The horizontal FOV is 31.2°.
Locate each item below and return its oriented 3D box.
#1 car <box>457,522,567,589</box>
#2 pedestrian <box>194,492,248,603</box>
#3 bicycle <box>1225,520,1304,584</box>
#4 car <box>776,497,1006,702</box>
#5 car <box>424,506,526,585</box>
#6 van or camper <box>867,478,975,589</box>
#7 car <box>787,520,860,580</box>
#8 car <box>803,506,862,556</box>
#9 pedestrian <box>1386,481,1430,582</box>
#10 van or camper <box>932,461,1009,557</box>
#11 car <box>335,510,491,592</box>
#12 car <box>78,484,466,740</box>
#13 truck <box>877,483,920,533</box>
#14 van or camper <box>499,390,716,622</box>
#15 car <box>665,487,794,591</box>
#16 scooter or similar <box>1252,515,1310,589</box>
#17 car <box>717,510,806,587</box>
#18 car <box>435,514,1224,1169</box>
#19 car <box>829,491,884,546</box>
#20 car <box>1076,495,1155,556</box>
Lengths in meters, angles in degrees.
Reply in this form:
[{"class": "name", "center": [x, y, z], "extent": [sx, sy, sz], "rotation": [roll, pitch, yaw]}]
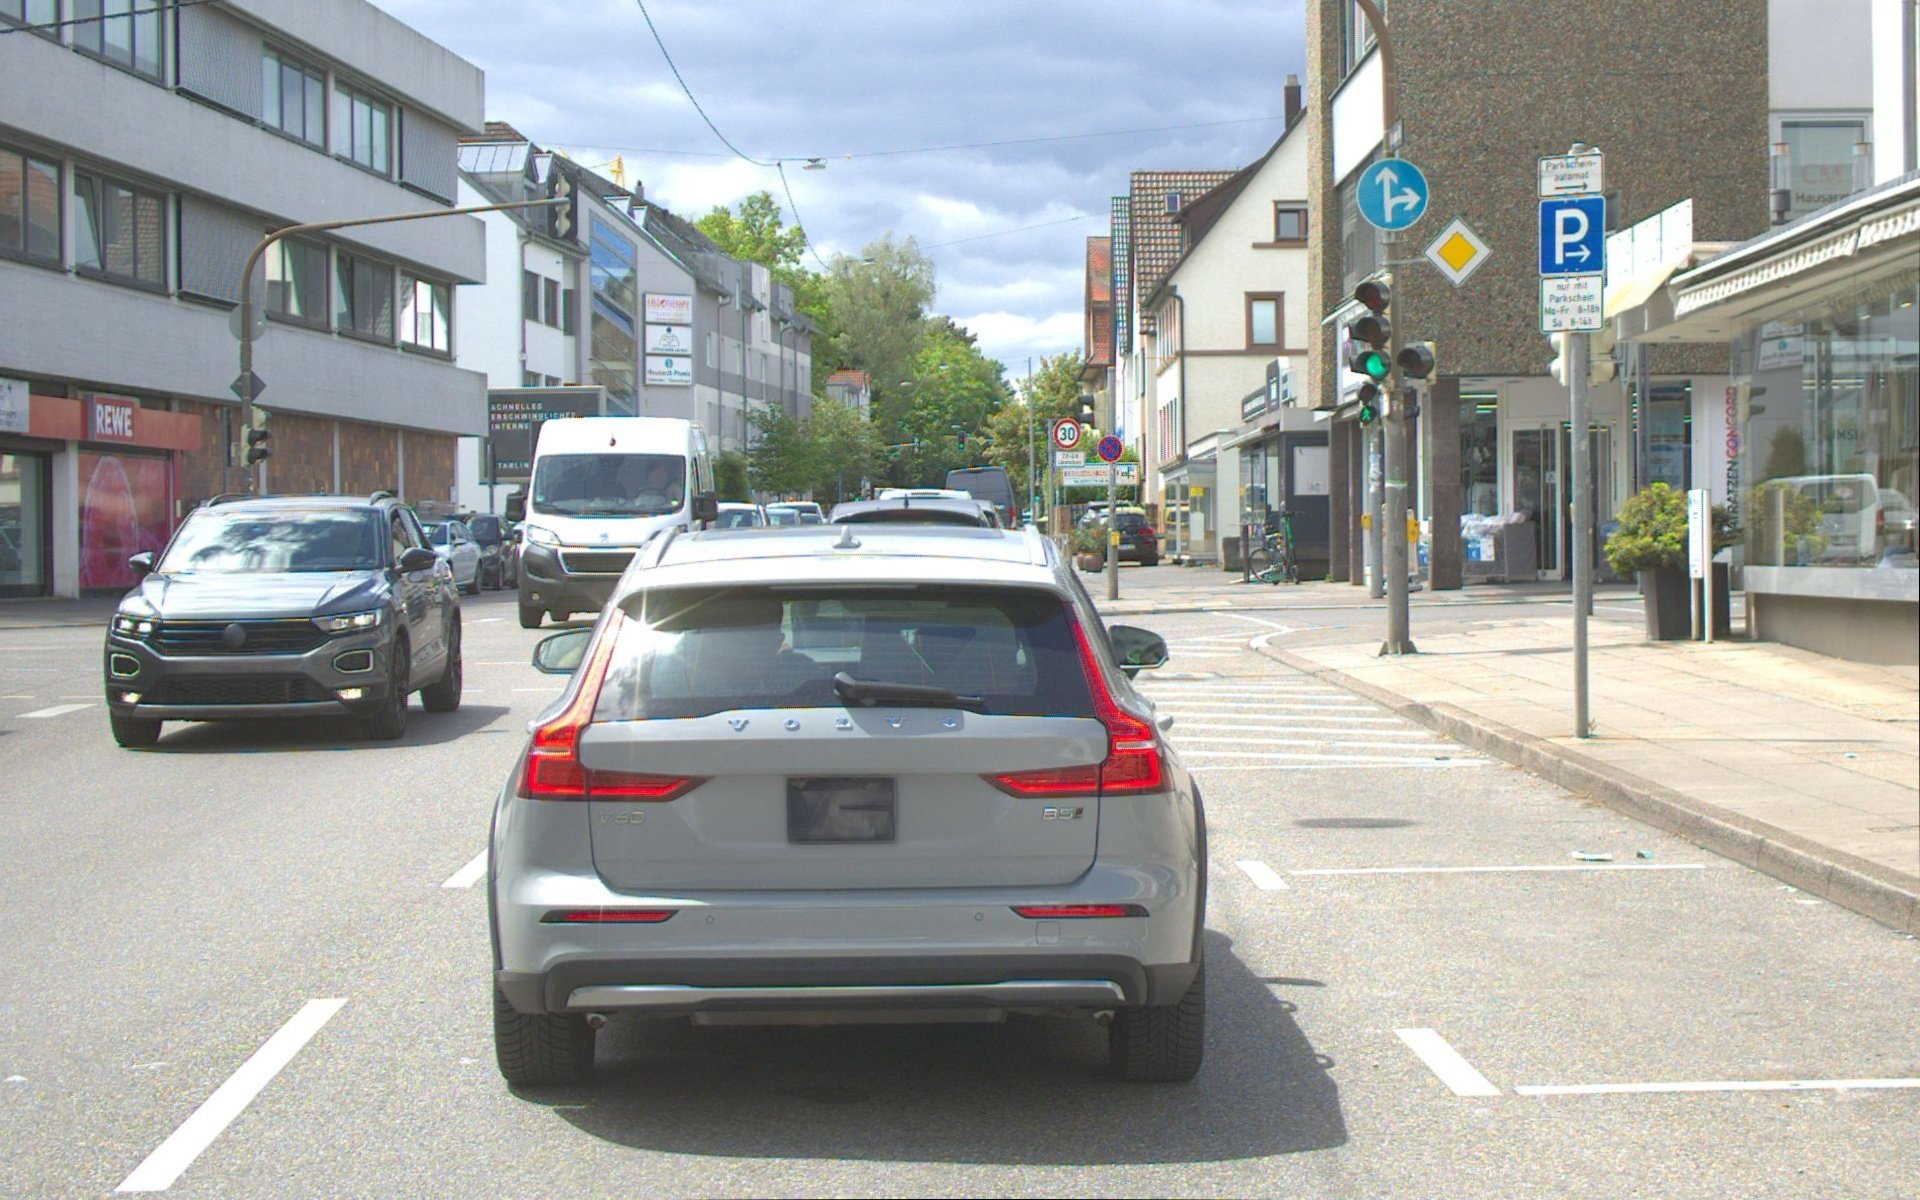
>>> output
[{"class": "car", "center": [-9.932, -0.987, 76.446], "extent": [1.755, 1.421, 3.862], "rotation": [-1, 1, 3]}, {"class": "pedestrian", "center": [-11.083, -0.790, 51.538], "extent": [0.619, 1.636, 0.660], "rotation": [-1, 1, 1]}, {"class": "bicycle", "center": [5.548, -0.885, 62.755], "extent": [0.554, 1.140, 2.301], "rotation": [-2, 2, -18]}, {"class": "car", "center": [-0.513, -0.033, 26.560], "extent": [1.650, 1.477, 3.607], "rotation": [0, 1, 0]}, {"class": "car", "center": [-9.885, -1.126, 70.241], "extent": [1.607, 1.538, 2.944], "rotation": [1, 2, 1]}, {"class": "van or camper", "center": [-0.682, -1.132, 60.489], "extent": [1.819, 1.828, 4.000], "rotation": [0, -1, 0]}, {"class": "car", "center": [-3.518, -1.309, 89.286], "extent": [1.683, 1.492, 3.967], "rotation": [-1, 1, 1]}, {"class": "car", "center": [-4.055, -2.219, 109.753], "extent": [1.668, 1.548, 4.215], "rotation": [0, 1, 1]}, {"class": "pedestrian", "center": [6.608, -1.009, 50.691], "extent": [0.504, 1.454, 0.500], "rotation": [-3, 0, 13]}, {"class": "van or camper", "center": [0.338, -2.645, 99.633], "extent": [2.123, 2.677, 4.781], "rotation": [-1, 2, 1]}, {"class": "car", "center": [-10.183, -0.940, 64.346], "extent": [1.904, 1.438, 4.443], "rotation": [1, 2, 4]}, {"class": "car", "center": [-4.402, 0.043, 22.543], "extent": [1.791, 1.506, 3.845], "rotation": [-1, 1, -1]}, {"class": "truck", "center": [-3.627, -5.455, 203.516], "extent": [2.276, 2.876, 7.079], "rotation": [-1, 2, 1]}, {"class": "van or camper", "center": [-4.133, -1.155, 41.180], "extent": [2.148, 2.547, 5.439], "rotation": [-1, 2, -2]}, {"class": "car", "center": [-3.861, -1.051, 58.171], "extent": [1.780, 1.634, 4.221], "rotation": [-2, 2, 1]}, {"class": "scooter or similar", "center": [5.580, -0.832, 59.833], "extent": [0.340, 1.249, 1.246], "rotation": [-3, 1, -26]}, {"class": "car", "center": [-4.257, -1.107, 74.145], "extent": [1.789, 1.584, 4.101], "rotation": [-1, 1, -2]}, {"class": "car", "center": [-0.321, 0.518, 10.051], "extent": [1.836, 1.481, 4.001], "rotation": [0, 2, -1]}, {"class": "car", "center": [-3.617, -2.849, 120.884], "extent": [1.838, 1.911, 4.156], "rotation": [0, 1, 0]}, {"class": "car", "center": [3.936, -1.884, 87.545], "extent": [1.710, 1.459, 4.000], "rotation": [0, 0, -2]}]
